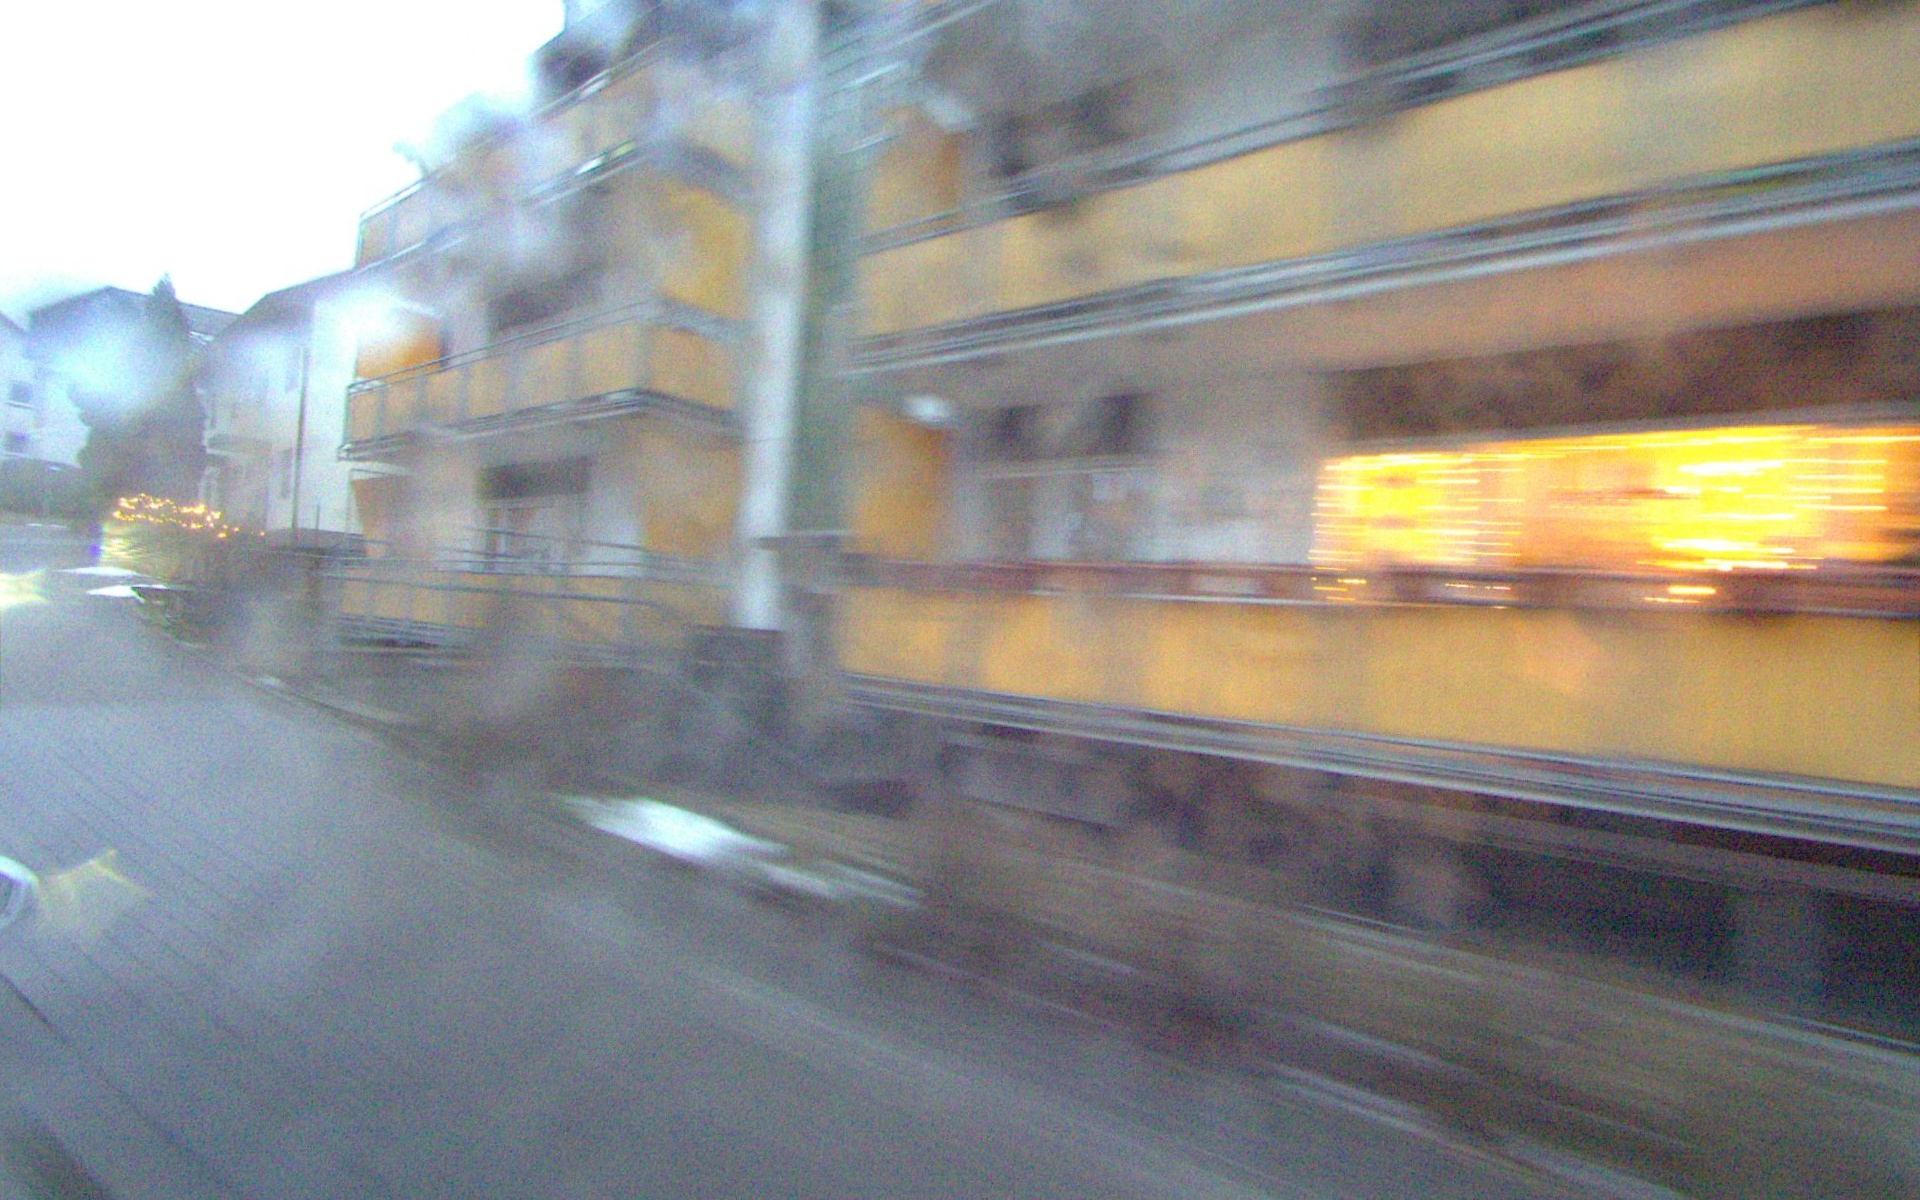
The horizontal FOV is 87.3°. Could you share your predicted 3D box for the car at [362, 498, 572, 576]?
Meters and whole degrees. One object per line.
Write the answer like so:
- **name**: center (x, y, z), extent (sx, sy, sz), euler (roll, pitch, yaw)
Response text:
- **car**: center (-12.170, -1.528, 25.065), extent (2.032, 1.672, 4.242), euler (7, 5, 36)
